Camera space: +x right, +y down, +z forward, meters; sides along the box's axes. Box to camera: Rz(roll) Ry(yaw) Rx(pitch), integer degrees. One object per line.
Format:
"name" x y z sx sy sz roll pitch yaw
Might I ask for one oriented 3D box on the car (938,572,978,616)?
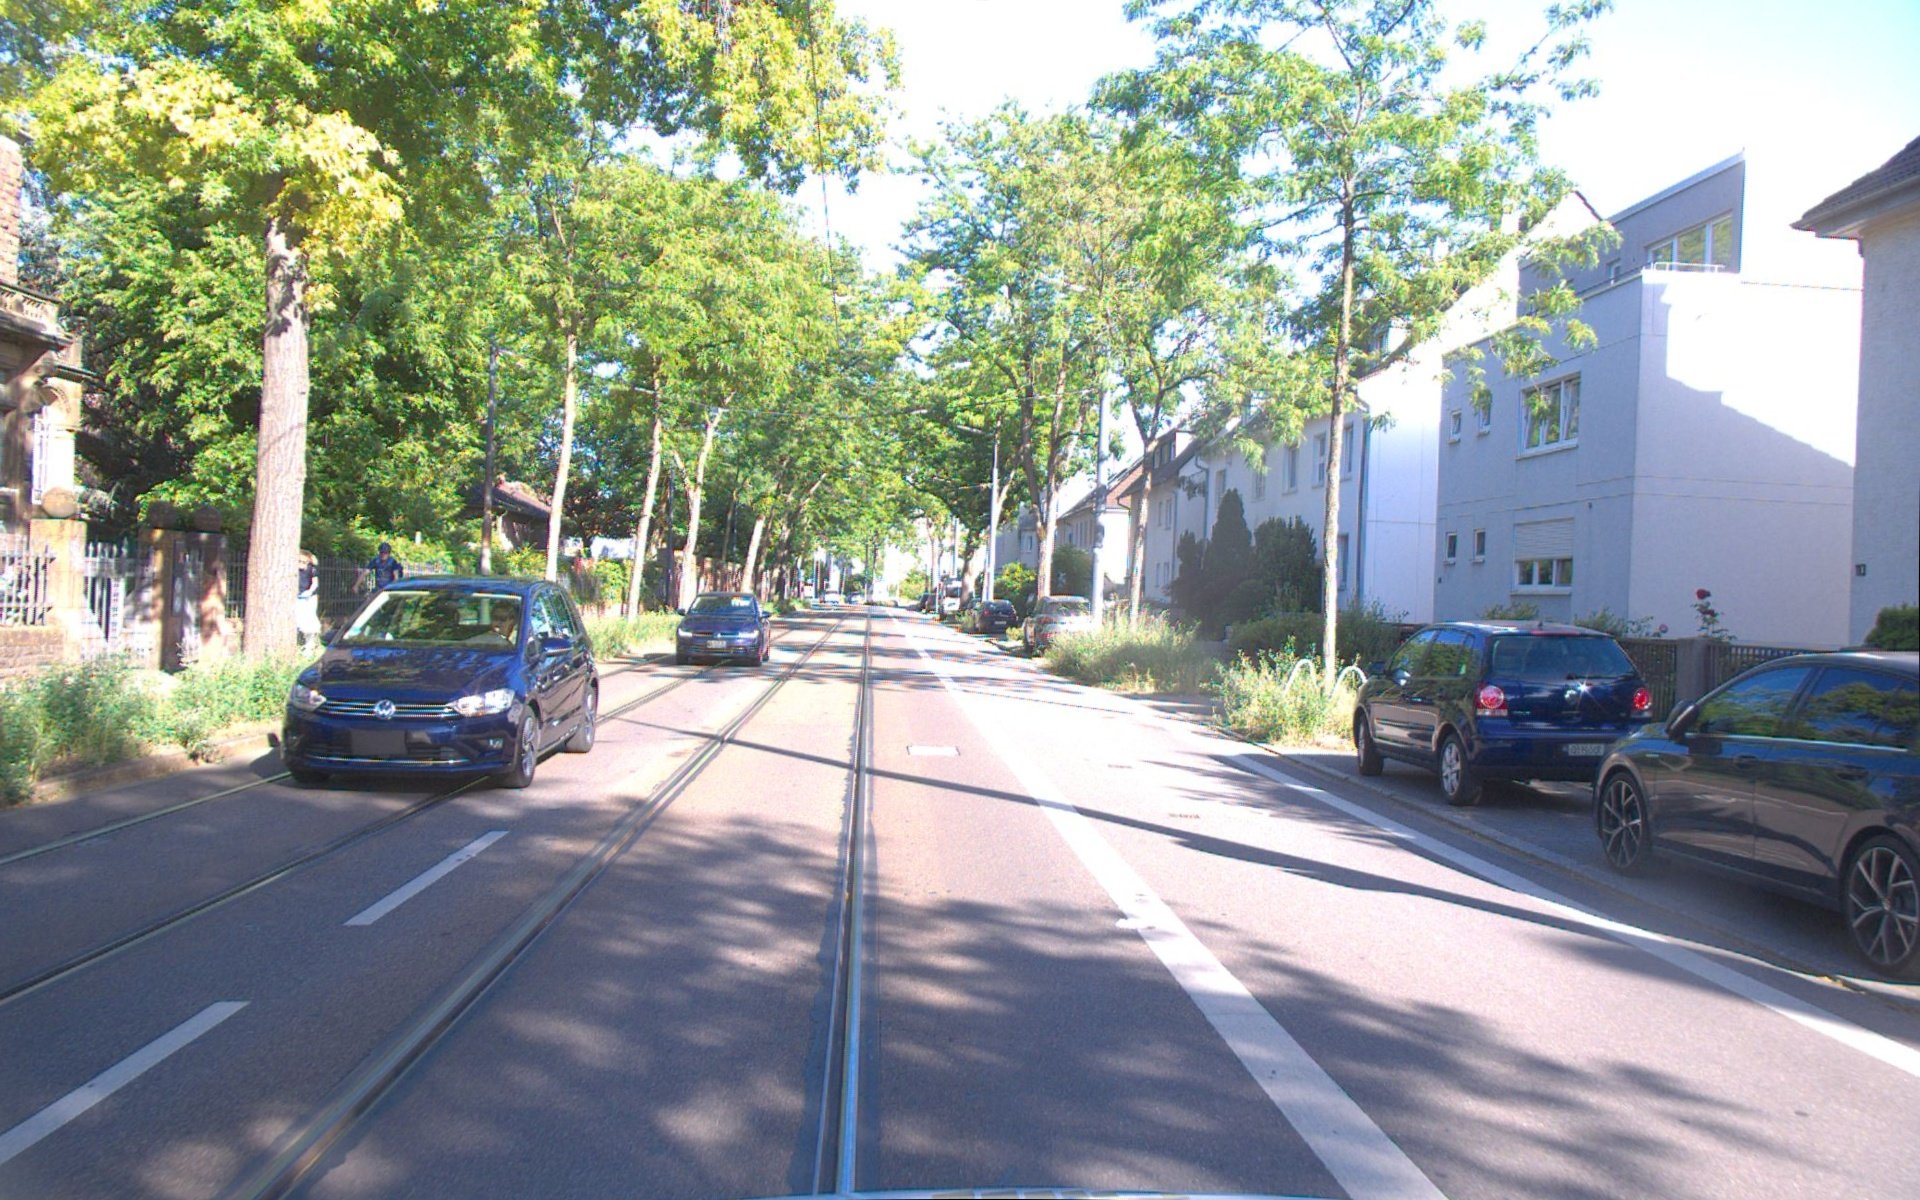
"car" -0.160 -0.381 104.563 2.201 2.700 5.581 0 0 -3

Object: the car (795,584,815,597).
"car" -24.113 -1.423 256.857 1.974 1.943 4.365 0 0 -20

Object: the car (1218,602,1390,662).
"car" 8.815 0.806 42.637 3.970 1.366 1.876 2 0 -4

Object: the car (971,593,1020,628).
"car" 1.560 0.451 73.540 1.749 1.473 4.297 -1 1 -5

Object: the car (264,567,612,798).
"car" -4.070 0.575 13.593 1.714 1.550 4.033 2 0 -3

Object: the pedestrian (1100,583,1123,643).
"pedestrian" 4.873 0.411 53.219 0.613 1.903 0.731 -1 0 -4

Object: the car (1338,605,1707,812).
"car" 4.772 0.842 14.675 1.714 1.521 3.994 1 0 -3

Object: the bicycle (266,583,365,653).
"bicycle" -9.547 0.255 24.577 0.697 0.977 2.093 2 0 -2

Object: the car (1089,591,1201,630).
"car" 7.494 0.410 67.223 4.331 1.515 1.858 0 0 -1

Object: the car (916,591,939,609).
"car" -3.033 -0.008 154.153 1.961 1.704 4.392 0 0 1

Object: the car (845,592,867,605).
"car" -13.058 -0.211 207.299 1.970 1.588 4.374 2 0 -15

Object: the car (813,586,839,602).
"car" -15.404 -0.676 189.732 1.839 1.704 4.148 2 0 -20

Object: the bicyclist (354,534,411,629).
"bicyclist" -9.800 -0.313 28.087 0.581 1.554 1.060 2 0 -2

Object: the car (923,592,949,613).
"car" -2.027 0.218 136.581 1.963 1.704 4.389 0 0 -3

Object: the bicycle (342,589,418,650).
"bicycle" -9.821 0.312 28.081 0.578 0.977 2.131 2 0 -2

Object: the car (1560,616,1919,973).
"car" 5.021 0.899 8.949 1.714 1.521 4.440 1 0 -3

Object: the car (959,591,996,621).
"car" 0.863 0.298 83.163 1.594 1.422 3.643 -1 1 -3

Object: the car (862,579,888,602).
"car" -9.723 -1.088 189.639 1.961 2.501 4.489 2 0 -16

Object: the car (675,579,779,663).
"car" -4.718 0.407 34.027 1.714 1.550 4.067 2 0 -3

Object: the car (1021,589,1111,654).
"car" 2.959 0.564 47.032 1.954 1.734 4.474 -1 0 -4
